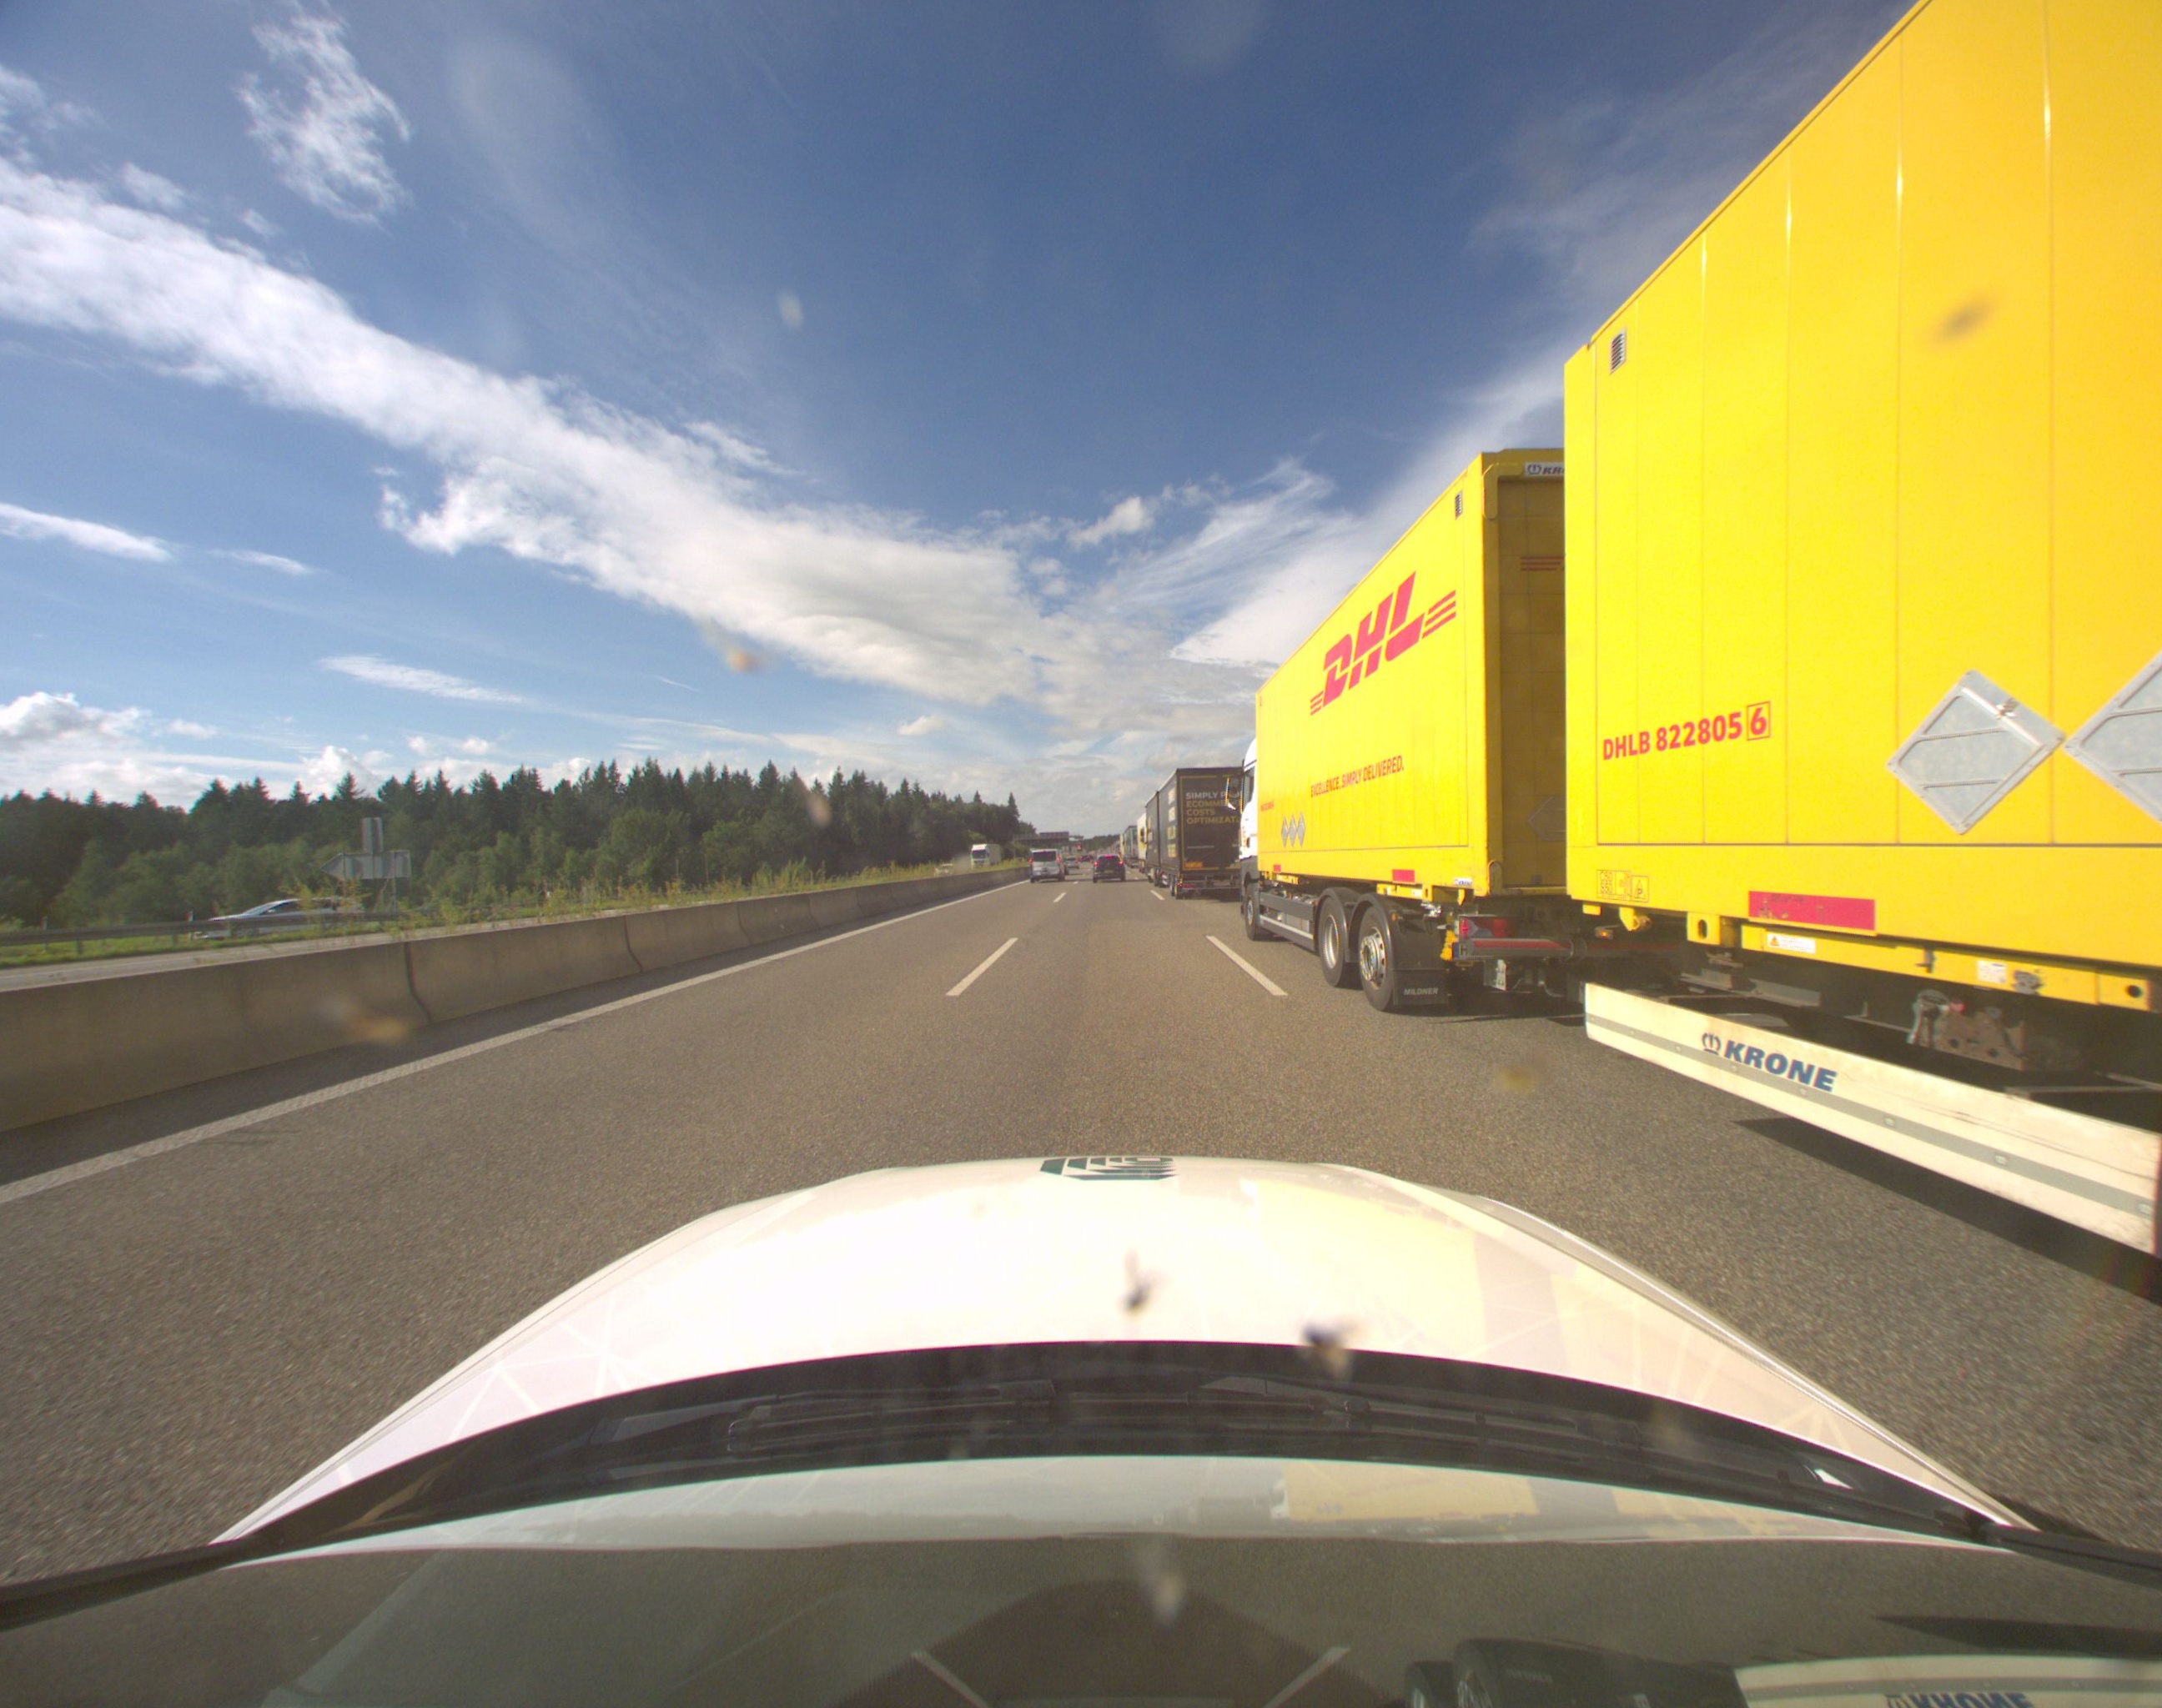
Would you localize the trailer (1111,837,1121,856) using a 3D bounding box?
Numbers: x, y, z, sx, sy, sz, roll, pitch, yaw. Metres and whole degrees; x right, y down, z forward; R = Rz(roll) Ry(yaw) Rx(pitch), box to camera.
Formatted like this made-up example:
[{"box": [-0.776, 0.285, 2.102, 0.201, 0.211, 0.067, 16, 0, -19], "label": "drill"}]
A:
[{"box": [8.393, -1.741, 197.561, 2.141, 4.259, 8.445, -3, 0, 2], "label": "trailer"}]

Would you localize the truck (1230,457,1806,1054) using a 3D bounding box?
[{"box": [3.867, -0.687, 10.410, 2.403, 4.068, 9.668, 0, 0, 2], "label": "truck"}]

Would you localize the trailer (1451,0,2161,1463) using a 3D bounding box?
[{"box": [3.619, -0.659, 1.077, 2.403, 4.068, 8.929, 0, 0, 2], "label": "trailer"}]

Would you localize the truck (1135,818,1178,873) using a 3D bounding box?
[{"box": [5.697, -0.620, 62.174, 2.791, 3.939, 5.829, -2, 0, 2], "label": "truck"}]

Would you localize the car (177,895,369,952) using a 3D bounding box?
[{"box": [-31.734, 2.666, 32.198, 1.976, 1.800, 5.005, -1, 0, 24], "label": "car"}]

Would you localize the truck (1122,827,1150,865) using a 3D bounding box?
[{"box": [5.931, -0.792, 89.328, 2.637, 3.869, 6.999, -3, 0, 2], "label": "truck"}]

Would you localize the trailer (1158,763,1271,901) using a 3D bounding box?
[{"box": [4.281, -0.663, 27.895, 2.705, 3.960, 8.715, 0, 0, 2], "label": "trailer"}]

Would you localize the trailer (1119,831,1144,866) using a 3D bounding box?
[{"box": [6.624, -0.711, 108.223, 2.693, 4.081, 12.950, -4, 0, 2], "label": "trailer"}]

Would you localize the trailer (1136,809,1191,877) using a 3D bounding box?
[{"box": [5.388, -0.627, 55.170, 2.781, 3.939, 13.077, -2, 0, 2], "label": "trailer"}]

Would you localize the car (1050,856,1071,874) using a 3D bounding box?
[{"box": [-1.678, 0.904, 66.792, 1.494, 1.396, 3.477, 0, 0, 2], "label": "car"}]

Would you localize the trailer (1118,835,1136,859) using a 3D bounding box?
[{"box": [7.619, -1.100, 136.531, 2.531, 3.653, 10.631, -4, 0, 2], "label": "trailer"}]

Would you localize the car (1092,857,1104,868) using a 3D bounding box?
[{"box": [2.244, 1.149, 109.426, 1.576, 1.396, 3.207, 0, 0, 0], "label": "car"}]

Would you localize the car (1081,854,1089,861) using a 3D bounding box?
[{"box": [0.743, 0.639, 160.255, 1.429, 1.310, 3.534, 0, 0, 1], "label": "car"}]

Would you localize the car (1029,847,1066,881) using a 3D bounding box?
[{"box": [-2.018, 0.611, 50.152, 1.925, 1.979, 5.100, 0, 0, 2], "label": "car"}]

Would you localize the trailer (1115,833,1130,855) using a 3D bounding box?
[{"box": [8.649, -2.095, 172.048, 2.791, 4.244, 11.063, -4, 0, 2], "label": "trailer"}]

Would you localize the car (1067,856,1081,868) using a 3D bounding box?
[{"box": [-0.756, 0.917, 93.989, 1.494, 1.396, 3.477, 0, 0, 2], "label": "car"}]

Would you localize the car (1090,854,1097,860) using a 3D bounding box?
[{"box": [2.898, 0.623, 189.242, 1.429, 1.310, 3.534, 0, 0, 1], "label": "car"}]

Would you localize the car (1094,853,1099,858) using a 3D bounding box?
[{"box": [4.726, 0.451, 251.549, 1.356, 1.301, 3.085, 0, 0, 1], "label": "car"}]

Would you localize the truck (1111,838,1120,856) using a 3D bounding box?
[{"box": [8.551, -1.703, 201.696, 2.125, 4.281, 6.342, -3, 0, 2], "label": "truck"}]

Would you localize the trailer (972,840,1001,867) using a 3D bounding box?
[{"box": [-15.316, -0.019, 132.815, 2.822, 3.992, 13.551, -2, 0, 1], "label": "trailer"}]

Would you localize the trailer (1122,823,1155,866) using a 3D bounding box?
[{"box": [5.686, -0.841, 82.056, 2.651, 3.868, 13.400, -3, 0, 2], "label": "trailer"}]

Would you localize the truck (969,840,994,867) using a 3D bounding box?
[{"box": [-15.440, -0.037, 126.607, 2.810, 3.976, 5.834, -3, 0, 1], "label": "truck"}]

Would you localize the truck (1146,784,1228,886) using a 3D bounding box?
[{"box": [4.587, -0.737, 37.311, 2.730, 4.038, 10.207, 0, 0, 2], "label": "truck"}]

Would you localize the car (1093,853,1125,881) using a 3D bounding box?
[{"box": [1.570, 0.705, 45.309, 1.690, 1.483, 4.161, 0, 0, 2], "label": "car"}]
